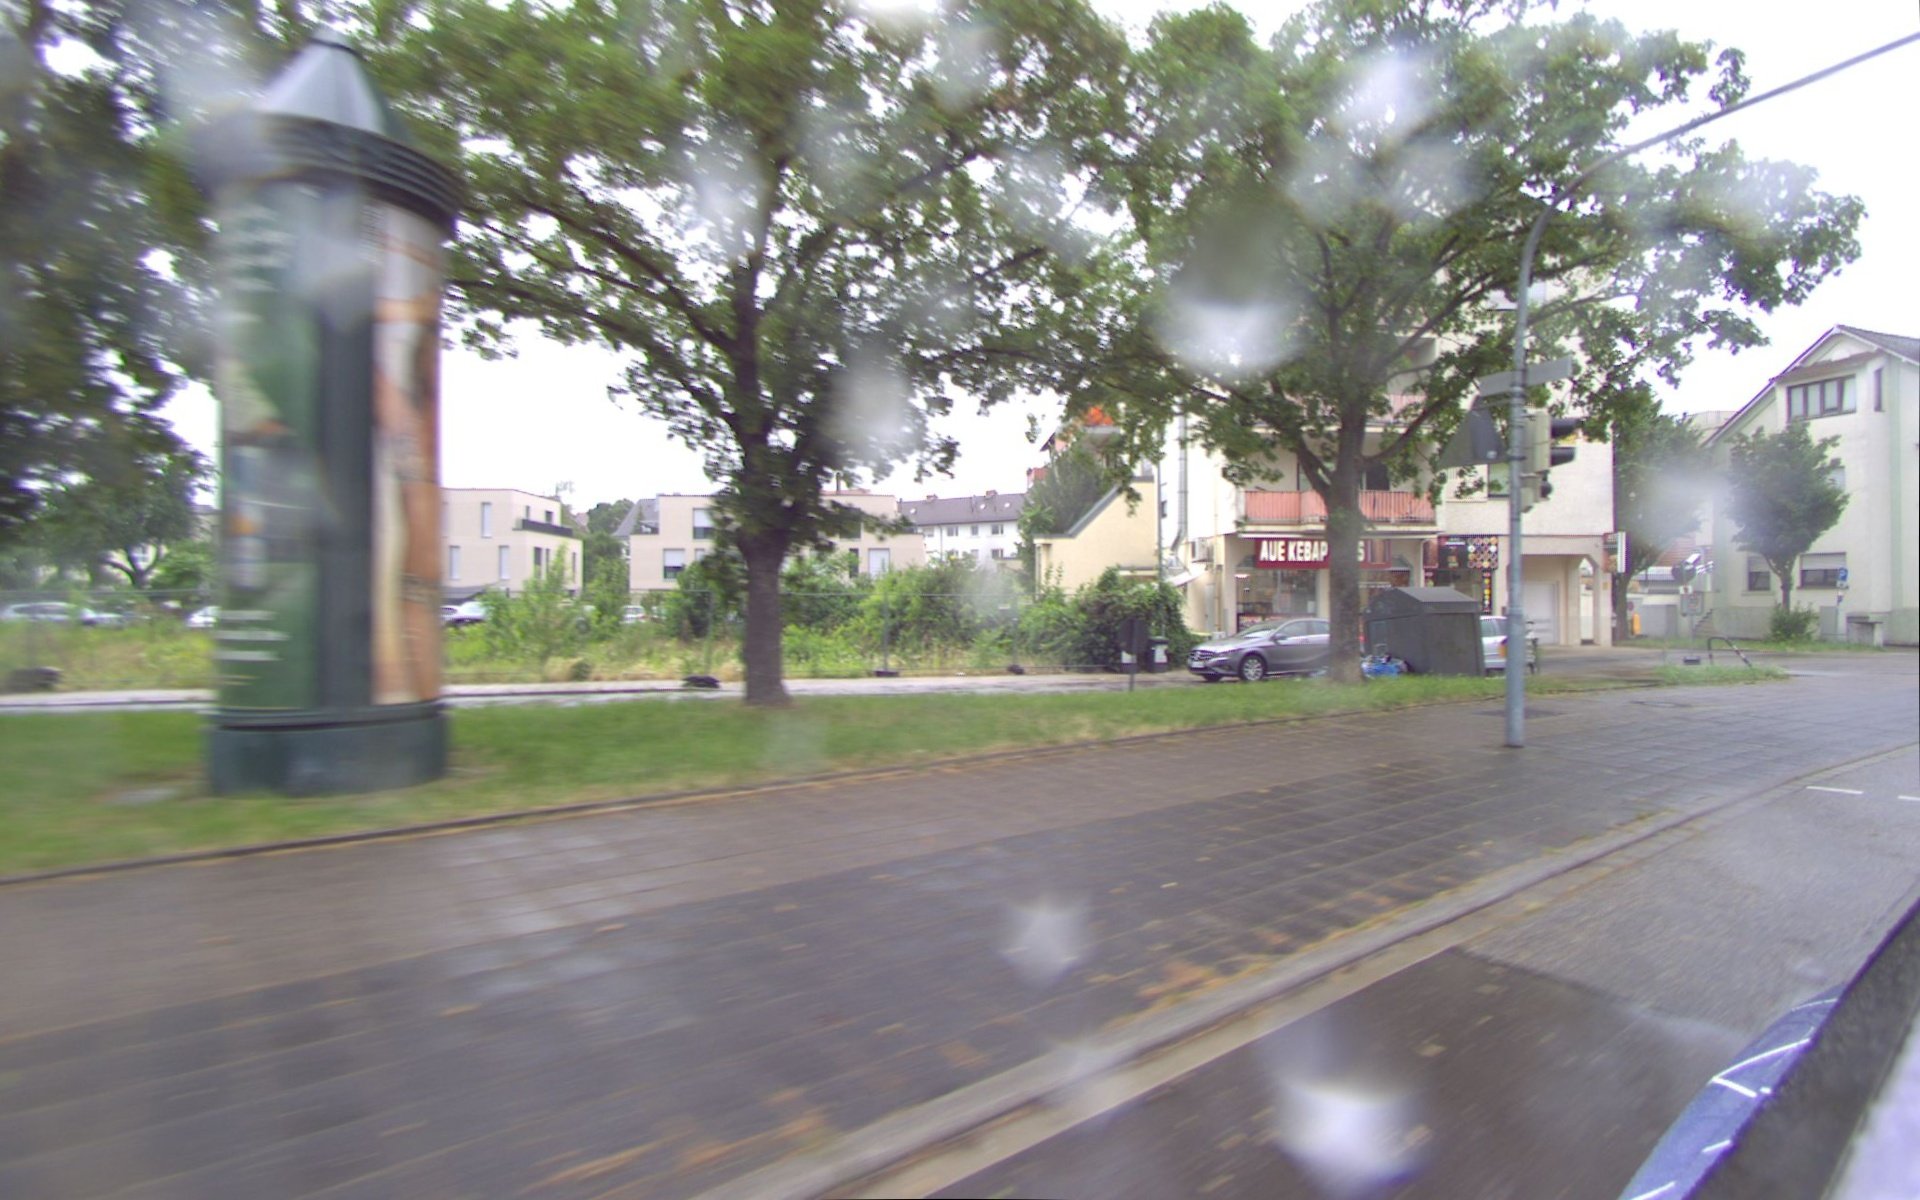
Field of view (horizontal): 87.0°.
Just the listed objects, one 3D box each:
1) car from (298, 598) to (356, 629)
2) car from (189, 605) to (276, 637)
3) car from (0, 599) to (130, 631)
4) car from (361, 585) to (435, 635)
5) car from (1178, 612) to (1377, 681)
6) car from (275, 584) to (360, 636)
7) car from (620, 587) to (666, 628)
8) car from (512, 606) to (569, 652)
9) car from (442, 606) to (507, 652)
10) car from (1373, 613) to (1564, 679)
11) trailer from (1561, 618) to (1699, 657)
[{"bbox_3d":[-40.834,0.870,65.376,1.637,1.938,4.005,0,-1,-8],"label":"car"},{"bbox_3d":[-30.624,0.867,42.730,1.636,1.282,4.007,0,-1,-14],"label":"car"},{"bbox_3d":[-36.887,0.612,41.607,3.916,1.282,1.772,0,-1,-20],"label":"car"},{"bbox_3d":[-23.975,0.442,43.304,1.958,2.039,4.007,0,-1,-17],"label":"car"},{"bbox_3d":[7.197,1.006,23.001,4.069,1.452,1.706,0,-1,-18],"label":"car"},{"bbox_3d":[-26.524,0.435,41.937,1.958,2.039,4.007,0,-1,-17],"label":"car"},{"bbox_3d":[-14.073,0.342,45.024,1.869,1.705,4.007,0,-1,-17],"label":"car"},{"bbox_3d":[-18.328,1.239,44.347,1.958,1.884,4.007,0,-1,-17],"label":"car"},{"bbox_3d":[-20.830,1.222,43.534,1.958,1.884,4.007,0,-1,-17],"label":"car"},{"bbox_3d":[12.134,1.055,24.176,4.088,1.452,1.642,0,-1,-18],"label":"car"},{"bbox_3d":[23.165,1.251,35.222,1.790,1.247,4.531,0,-1,1],"label":"trailer"}]
